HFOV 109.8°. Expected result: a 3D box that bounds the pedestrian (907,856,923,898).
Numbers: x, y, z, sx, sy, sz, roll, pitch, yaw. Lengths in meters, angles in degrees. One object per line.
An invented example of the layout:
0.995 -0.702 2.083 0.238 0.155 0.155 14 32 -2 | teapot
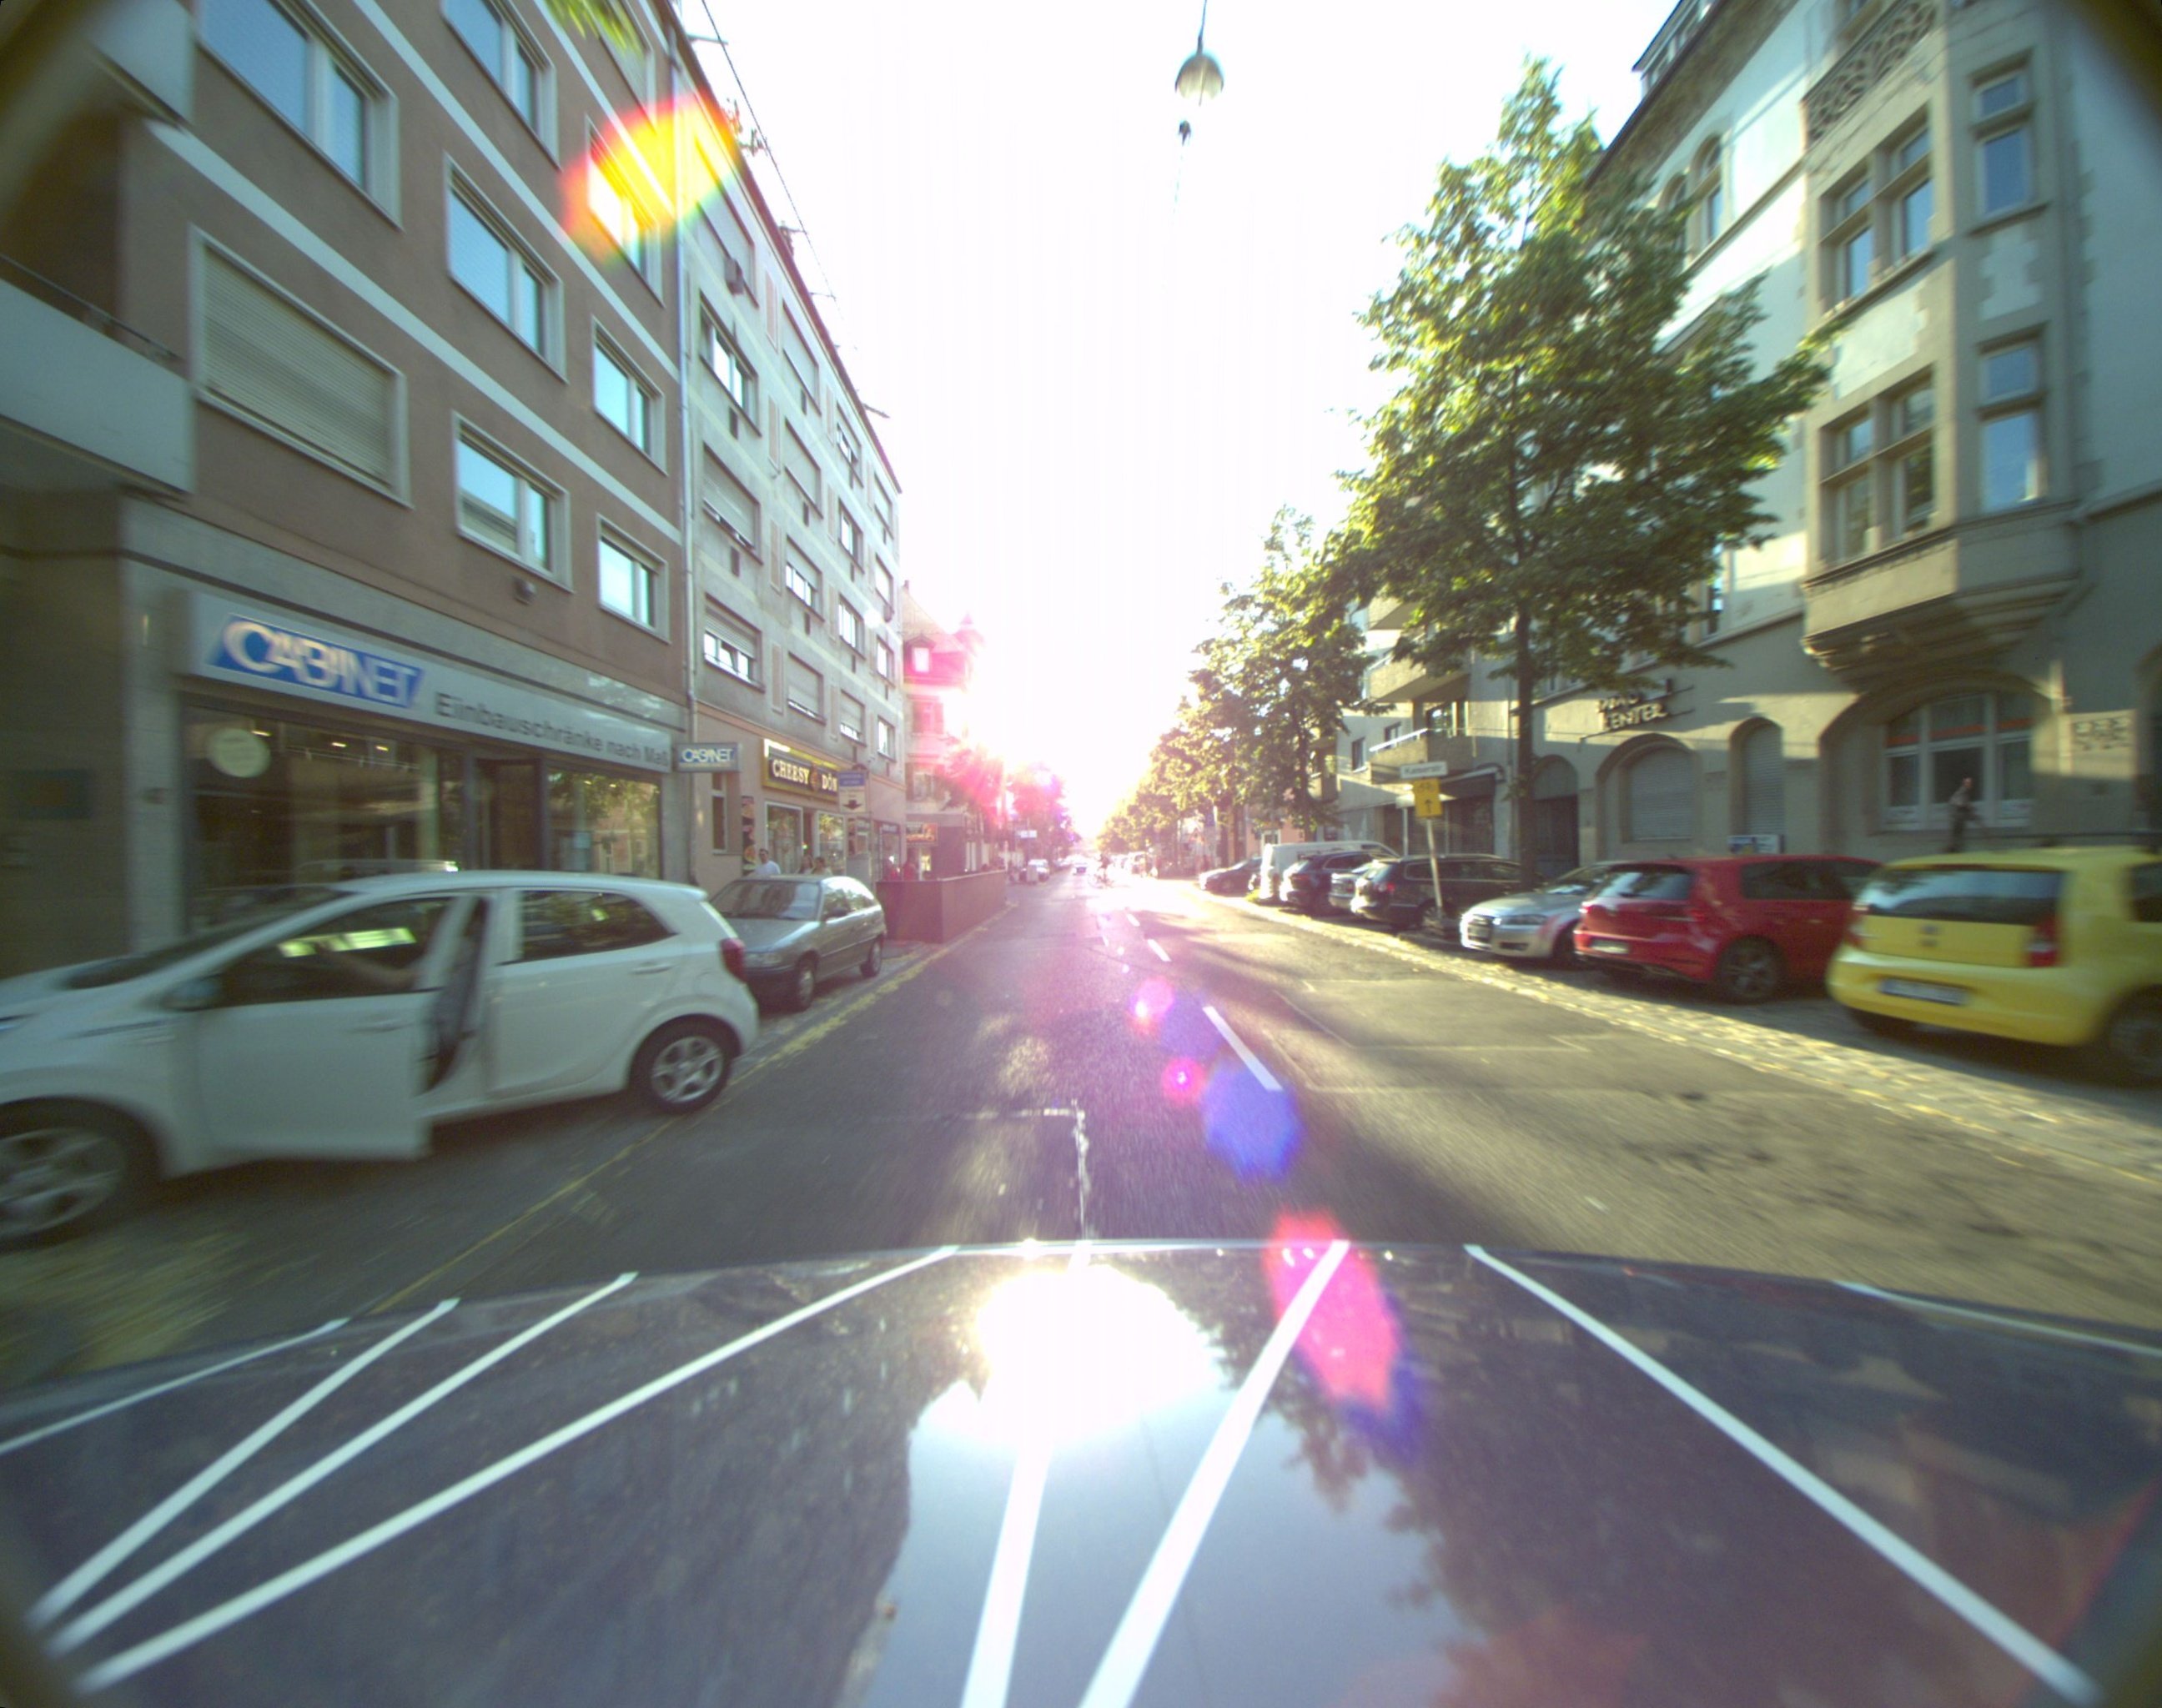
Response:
-6.534 0.900 29.897 0.493 1.614 0.573 1 1 1 | pedestrian

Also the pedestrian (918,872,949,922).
-3.994 1.154 20.589 0.687 1.298 0.648 1 1 2 | pedestrian

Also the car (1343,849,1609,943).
7.471 0.763 14.686 4.193 1.528 1.744 -2 1 2 | car

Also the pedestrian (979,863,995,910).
-3.030 1.045 24.528 0.448 1.472 0.547 1 1 1 | pedestrian

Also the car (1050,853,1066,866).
-3.049 0.678 100.202 1.825 1.658 4.155 -1 1 1 | car

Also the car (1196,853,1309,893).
7.390 0.810 32.936 4.439 1.516 1.814 -2 0 -1 | car

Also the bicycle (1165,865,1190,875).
7.222 1.203 56.862 1.796 0.761 0.408 -1 1 13 | bicycle

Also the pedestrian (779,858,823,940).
-5.730 0.907 15.559 0.607 1.622 0.668 -1 1 0 | pedestrian

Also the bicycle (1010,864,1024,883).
-4.069 1.233 48.579 0.478 1.101 2.062 -1 0 7 | bicycle

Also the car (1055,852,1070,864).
-2.614 0.597 108.072 1.825 1.658 4.155 -1 1 1 | car

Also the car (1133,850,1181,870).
7.370 0.580 74.257 4.439 1.832 1.814 -2 0 -1 | car

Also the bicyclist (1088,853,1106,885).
0.931 0.869 43.976 0.873 1.783 0.535 -2 1 -37 | bicyclist

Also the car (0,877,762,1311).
-3.929 0.934 4.177 1.661 1.574 3.632 0 -1 41 | car

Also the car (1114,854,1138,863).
7.847 0.730 133.055 4.151 1.469 1.827 -1 0 1 | car

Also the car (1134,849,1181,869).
7.737 0.532 77.032 4.439 1.832 1.814 -2 0 -1 | car

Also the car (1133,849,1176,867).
8.090 0.444 83.987 4.439 1.832 1.814 -2 0 -1 | car

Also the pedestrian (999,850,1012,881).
-4.730 0.710 47.504 0.719 1.864 0.756 1 1 1 | pedestrian

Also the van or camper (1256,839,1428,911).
7.643 0.599 22.526 4.469 1.945 1.789 -1 0 2 | van or camper

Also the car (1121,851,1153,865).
7.577 0.493 102.797 4.152 1.771 1.826 -1 0 0 | car

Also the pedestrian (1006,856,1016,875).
-5.784 0.959 62.890 0.719 1.565 0.756 1 1 1 | pedestrian

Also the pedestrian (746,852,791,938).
-6.398 0.823 15.567 0.607 1.728 0.668 -1 1 0 | pedestrian

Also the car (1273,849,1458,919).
7.305 0.742 19.817 4.193 1.659 1.732 -1 1 2 | car

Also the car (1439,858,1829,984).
7.285 0.829 10.279 4.052 1.378 1.744 -2 0 -3 | car

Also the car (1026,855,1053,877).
-3.351 0.955 62.273 1.825 1.658 4.155 -1 1 1 | car

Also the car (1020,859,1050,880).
-3.361 1.103 55.791 1.825 1.344 4.155 -1 1 1 | car

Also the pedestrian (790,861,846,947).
-5.154 0.958 14.940 0.748 1.622 0.855 -1 1 0 | pedestrian

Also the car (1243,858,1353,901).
7.800 0.907 27.496 3.582 1.405 1.512 -1 1 2 | car

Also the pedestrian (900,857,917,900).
-6.546 0.935 28.832 0.493 1.614 0.573 1 1 1 | pedestrian

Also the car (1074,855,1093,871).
0.251 0.921 77.316 1.825 1.469 4.155 -1 1 1 | car

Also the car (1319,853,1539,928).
7.820 0.799 17.323 4.194 1.434 1.732 -2 1 0 | car

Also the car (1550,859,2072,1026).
7.403 0.827 7.985 3.876 1.448 1.744 -1 0 -2 | car

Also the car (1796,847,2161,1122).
7.812 0.750 5.402 3.876 1.558 1.744 -1 0 -2 | car

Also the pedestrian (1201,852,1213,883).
6.638 0.709 40.011 0.550 1.638 0.721 -1 1 3 | pedestrian

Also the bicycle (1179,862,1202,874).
8.606 1.085 59.751 1.801 0.858 0.444 -1 1 -24 | bicycle

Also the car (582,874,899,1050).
-3.687 1.065 9.139 1.830 1.465 3.991 3 0 2 | car

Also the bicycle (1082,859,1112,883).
0.928 0.993 43.954 1.833 1.335 0.405 -1 1 -35 | bicycle

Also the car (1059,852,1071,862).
-2.596 0.471 126.474 1.825 1.658 4.155 -1 1 1 | car

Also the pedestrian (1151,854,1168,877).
5.710 0.851 55.236 0.898 1.671 0.795 -2 1 -36 | pedestrian

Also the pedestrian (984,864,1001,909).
-2.971 1.084 25.520 0.448 1.472 0.563 1 1 1 | pedestrian

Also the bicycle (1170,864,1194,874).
7.741 1.166 58.051 1.796 0.761 0.408 -1 1 13 | bicycle

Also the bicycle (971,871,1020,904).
-3.302 1.261 29.232 2.055 1.207 0.479 -1 1 37 | bicycle
